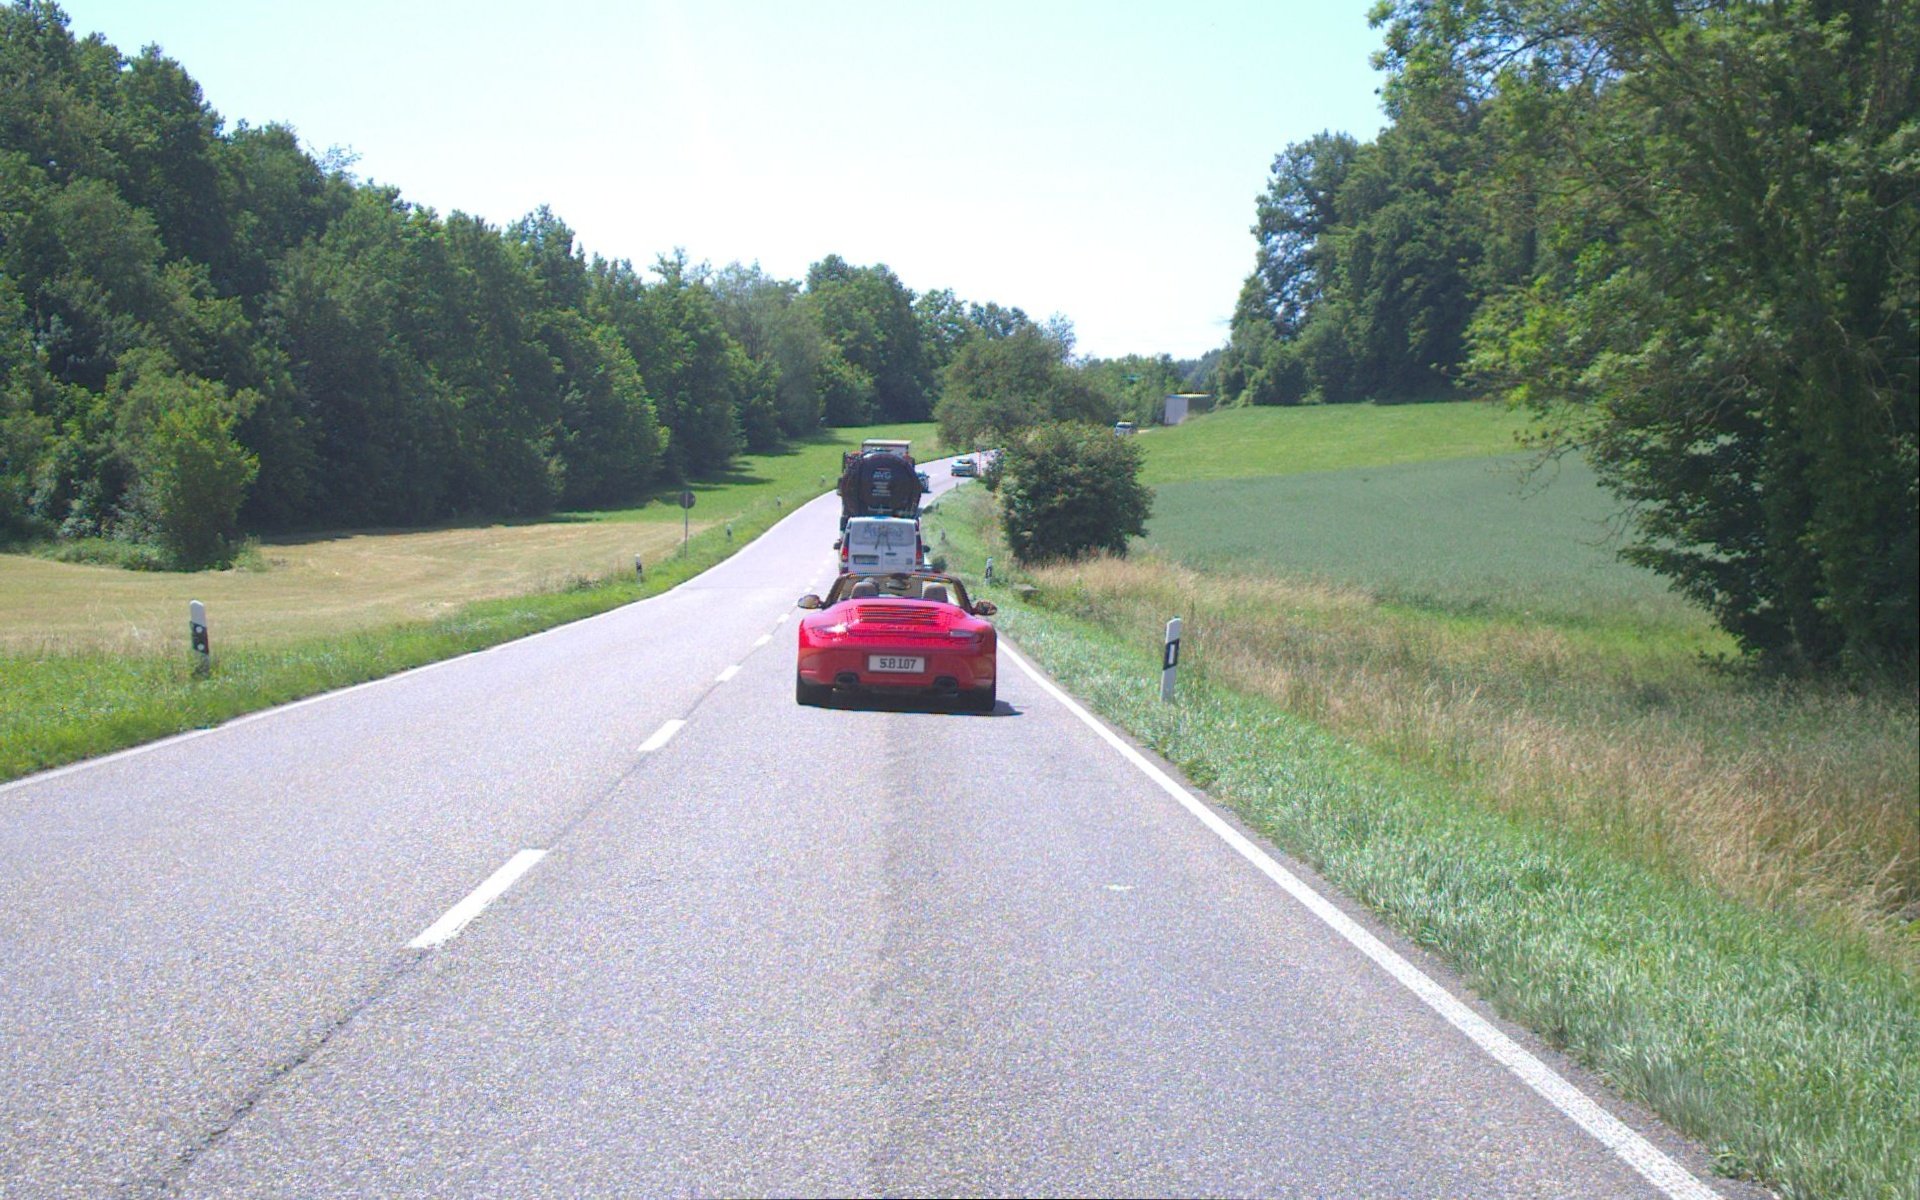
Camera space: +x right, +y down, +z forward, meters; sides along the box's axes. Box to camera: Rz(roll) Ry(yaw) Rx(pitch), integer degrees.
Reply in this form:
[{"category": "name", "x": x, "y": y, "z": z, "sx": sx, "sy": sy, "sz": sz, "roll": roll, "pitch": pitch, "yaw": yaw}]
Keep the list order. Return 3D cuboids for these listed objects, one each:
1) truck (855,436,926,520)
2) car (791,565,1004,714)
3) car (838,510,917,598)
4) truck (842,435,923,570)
[{"category": "truck", "x": -4.027, "y": -7.059, "z": 197.464, "sx": 3.725, "sy": 4.644, "sz": 12.033, "roll": -1, "pitch": 3, "yaw": -2}, {"category": "car", "x": -0.617, "y": 0.333, "z": 33.020, "sx": 1.882, "sy": 1.251, "sz": 4.010, "roll": 2, "pitch": 1, "yaw": -2}, {"category": "car", "x": -1.845, "y": -1.051, "z": 77.889, "sx": 1.678, "sy": 1.894, "sz": 4.010, "roll": -1, "pitch": 1, "yaw": 0}, {"category": "truck", "x": -2.650, "y": -3.358, "z": 114.209, "sx": 2.403, "sy": 4.035, "sz": 12.553, "roll": -1, "pitch": 3, "yaw": -2}]
